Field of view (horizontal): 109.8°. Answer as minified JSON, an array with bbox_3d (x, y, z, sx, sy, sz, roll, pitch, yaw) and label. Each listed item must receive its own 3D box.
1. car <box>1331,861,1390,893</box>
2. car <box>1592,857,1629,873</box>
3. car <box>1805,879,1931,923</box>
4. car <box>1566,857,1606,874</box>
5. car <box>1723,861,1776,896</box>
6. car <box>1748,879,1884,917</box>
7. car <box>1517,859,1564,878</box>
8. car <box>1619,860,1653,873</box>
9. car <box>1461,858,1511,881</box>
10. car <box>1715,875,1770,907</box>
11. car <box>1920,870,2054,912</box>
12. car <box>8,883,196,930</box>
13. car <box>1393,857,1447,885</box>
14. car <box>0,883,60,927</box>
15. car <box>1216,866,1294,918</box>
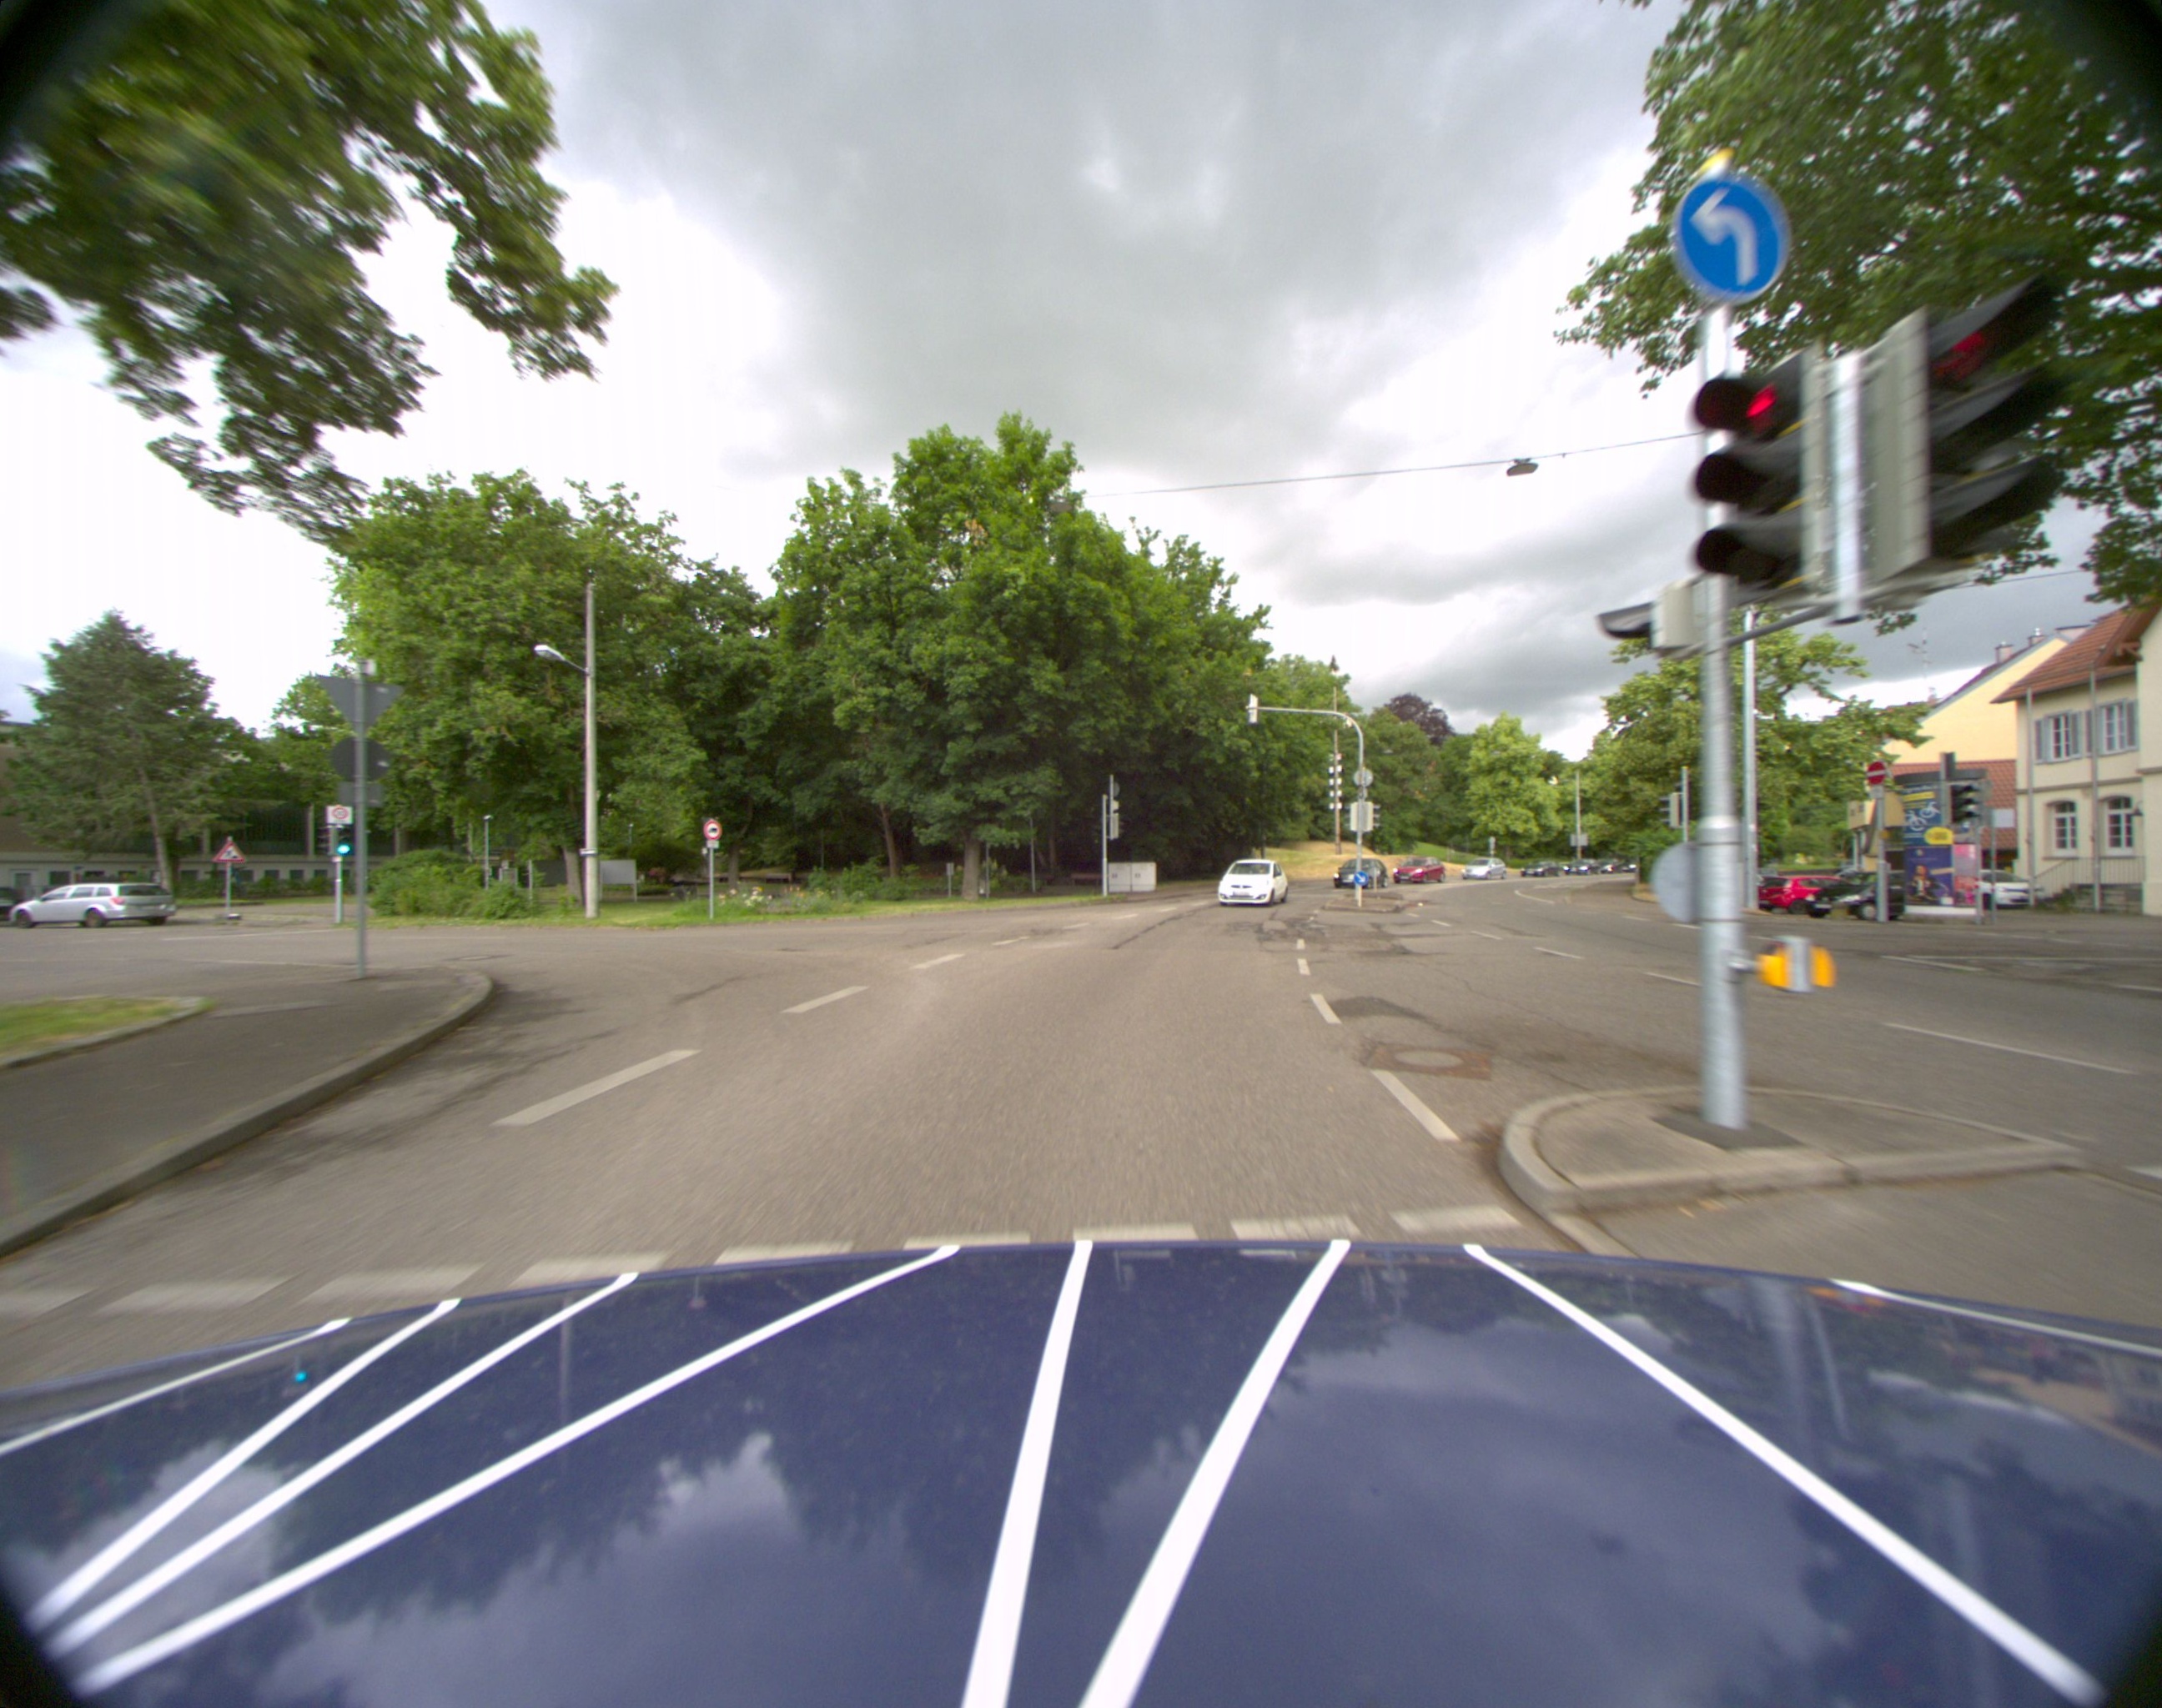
[{"bbox_3d":[14.765,1.167,40.074,1.727,1.512,4.008,0,0,39],"label":"car"},{"bbox_3d":[49.393,1.008,70.853,3.874,1.438,1.704,-1,0,-37],"label":"car"},{"bbox_3d":[25.254,1.502,24.392,3.403,1.302,1.481,1,0,-18],"label":"car"},{"bbox_3d":[44.382,1.024,66.771,3.989,1.403,1.693,-1,0,-36],"label":"car"},{"bbox_3d":[33.891,1.216,38.595,1.896,1.618,4.008,-1,0,39],"label":"car"},{"bbox_3d":[28.186,1.668,29.214,3.626,1.345,1.600,0,0,3],"label":"car"},{"bbox_3d":[37.538,1.126,62.019,4.007,1.449,1.850,-1,0,-36],"label":"car"},{"bbox_3d":[54.257,1.200,74.317,3.632,1.261,1.641,-1,0,-36],"label":"car"},{"bbox_3d":[29.502,1.104,55.305,4.008,1.559,1.779,-1,0,-39],"label":"car"},{"bbox_3d":[36.926,2.047,42.491,1.931,1.598,3.669,-1,0,35],"label":"car"},{"bbox_3d":[36.057,1.438,30.370,1.651,1.483,3.485,-1,0,12],"label":"car"},{"bbox_3d":[-33.289,1.776,25.891,4.540,1.447,1.902,-1,0,8],"label":"car"},{"bbox_3d":[21.229,1.006,47.515,4.109,1.632,1.671,-1,0,-44],"label":"car"},{"bbox_3d":[-38.715,1.809,26.627,3.953,1.447,1.802,-1,0,8],"label":"car"},{"bbox_3d":[5.789,1.188,24.896,1.625,1.499,4.007,-1,0,26],"label":"car"}]
